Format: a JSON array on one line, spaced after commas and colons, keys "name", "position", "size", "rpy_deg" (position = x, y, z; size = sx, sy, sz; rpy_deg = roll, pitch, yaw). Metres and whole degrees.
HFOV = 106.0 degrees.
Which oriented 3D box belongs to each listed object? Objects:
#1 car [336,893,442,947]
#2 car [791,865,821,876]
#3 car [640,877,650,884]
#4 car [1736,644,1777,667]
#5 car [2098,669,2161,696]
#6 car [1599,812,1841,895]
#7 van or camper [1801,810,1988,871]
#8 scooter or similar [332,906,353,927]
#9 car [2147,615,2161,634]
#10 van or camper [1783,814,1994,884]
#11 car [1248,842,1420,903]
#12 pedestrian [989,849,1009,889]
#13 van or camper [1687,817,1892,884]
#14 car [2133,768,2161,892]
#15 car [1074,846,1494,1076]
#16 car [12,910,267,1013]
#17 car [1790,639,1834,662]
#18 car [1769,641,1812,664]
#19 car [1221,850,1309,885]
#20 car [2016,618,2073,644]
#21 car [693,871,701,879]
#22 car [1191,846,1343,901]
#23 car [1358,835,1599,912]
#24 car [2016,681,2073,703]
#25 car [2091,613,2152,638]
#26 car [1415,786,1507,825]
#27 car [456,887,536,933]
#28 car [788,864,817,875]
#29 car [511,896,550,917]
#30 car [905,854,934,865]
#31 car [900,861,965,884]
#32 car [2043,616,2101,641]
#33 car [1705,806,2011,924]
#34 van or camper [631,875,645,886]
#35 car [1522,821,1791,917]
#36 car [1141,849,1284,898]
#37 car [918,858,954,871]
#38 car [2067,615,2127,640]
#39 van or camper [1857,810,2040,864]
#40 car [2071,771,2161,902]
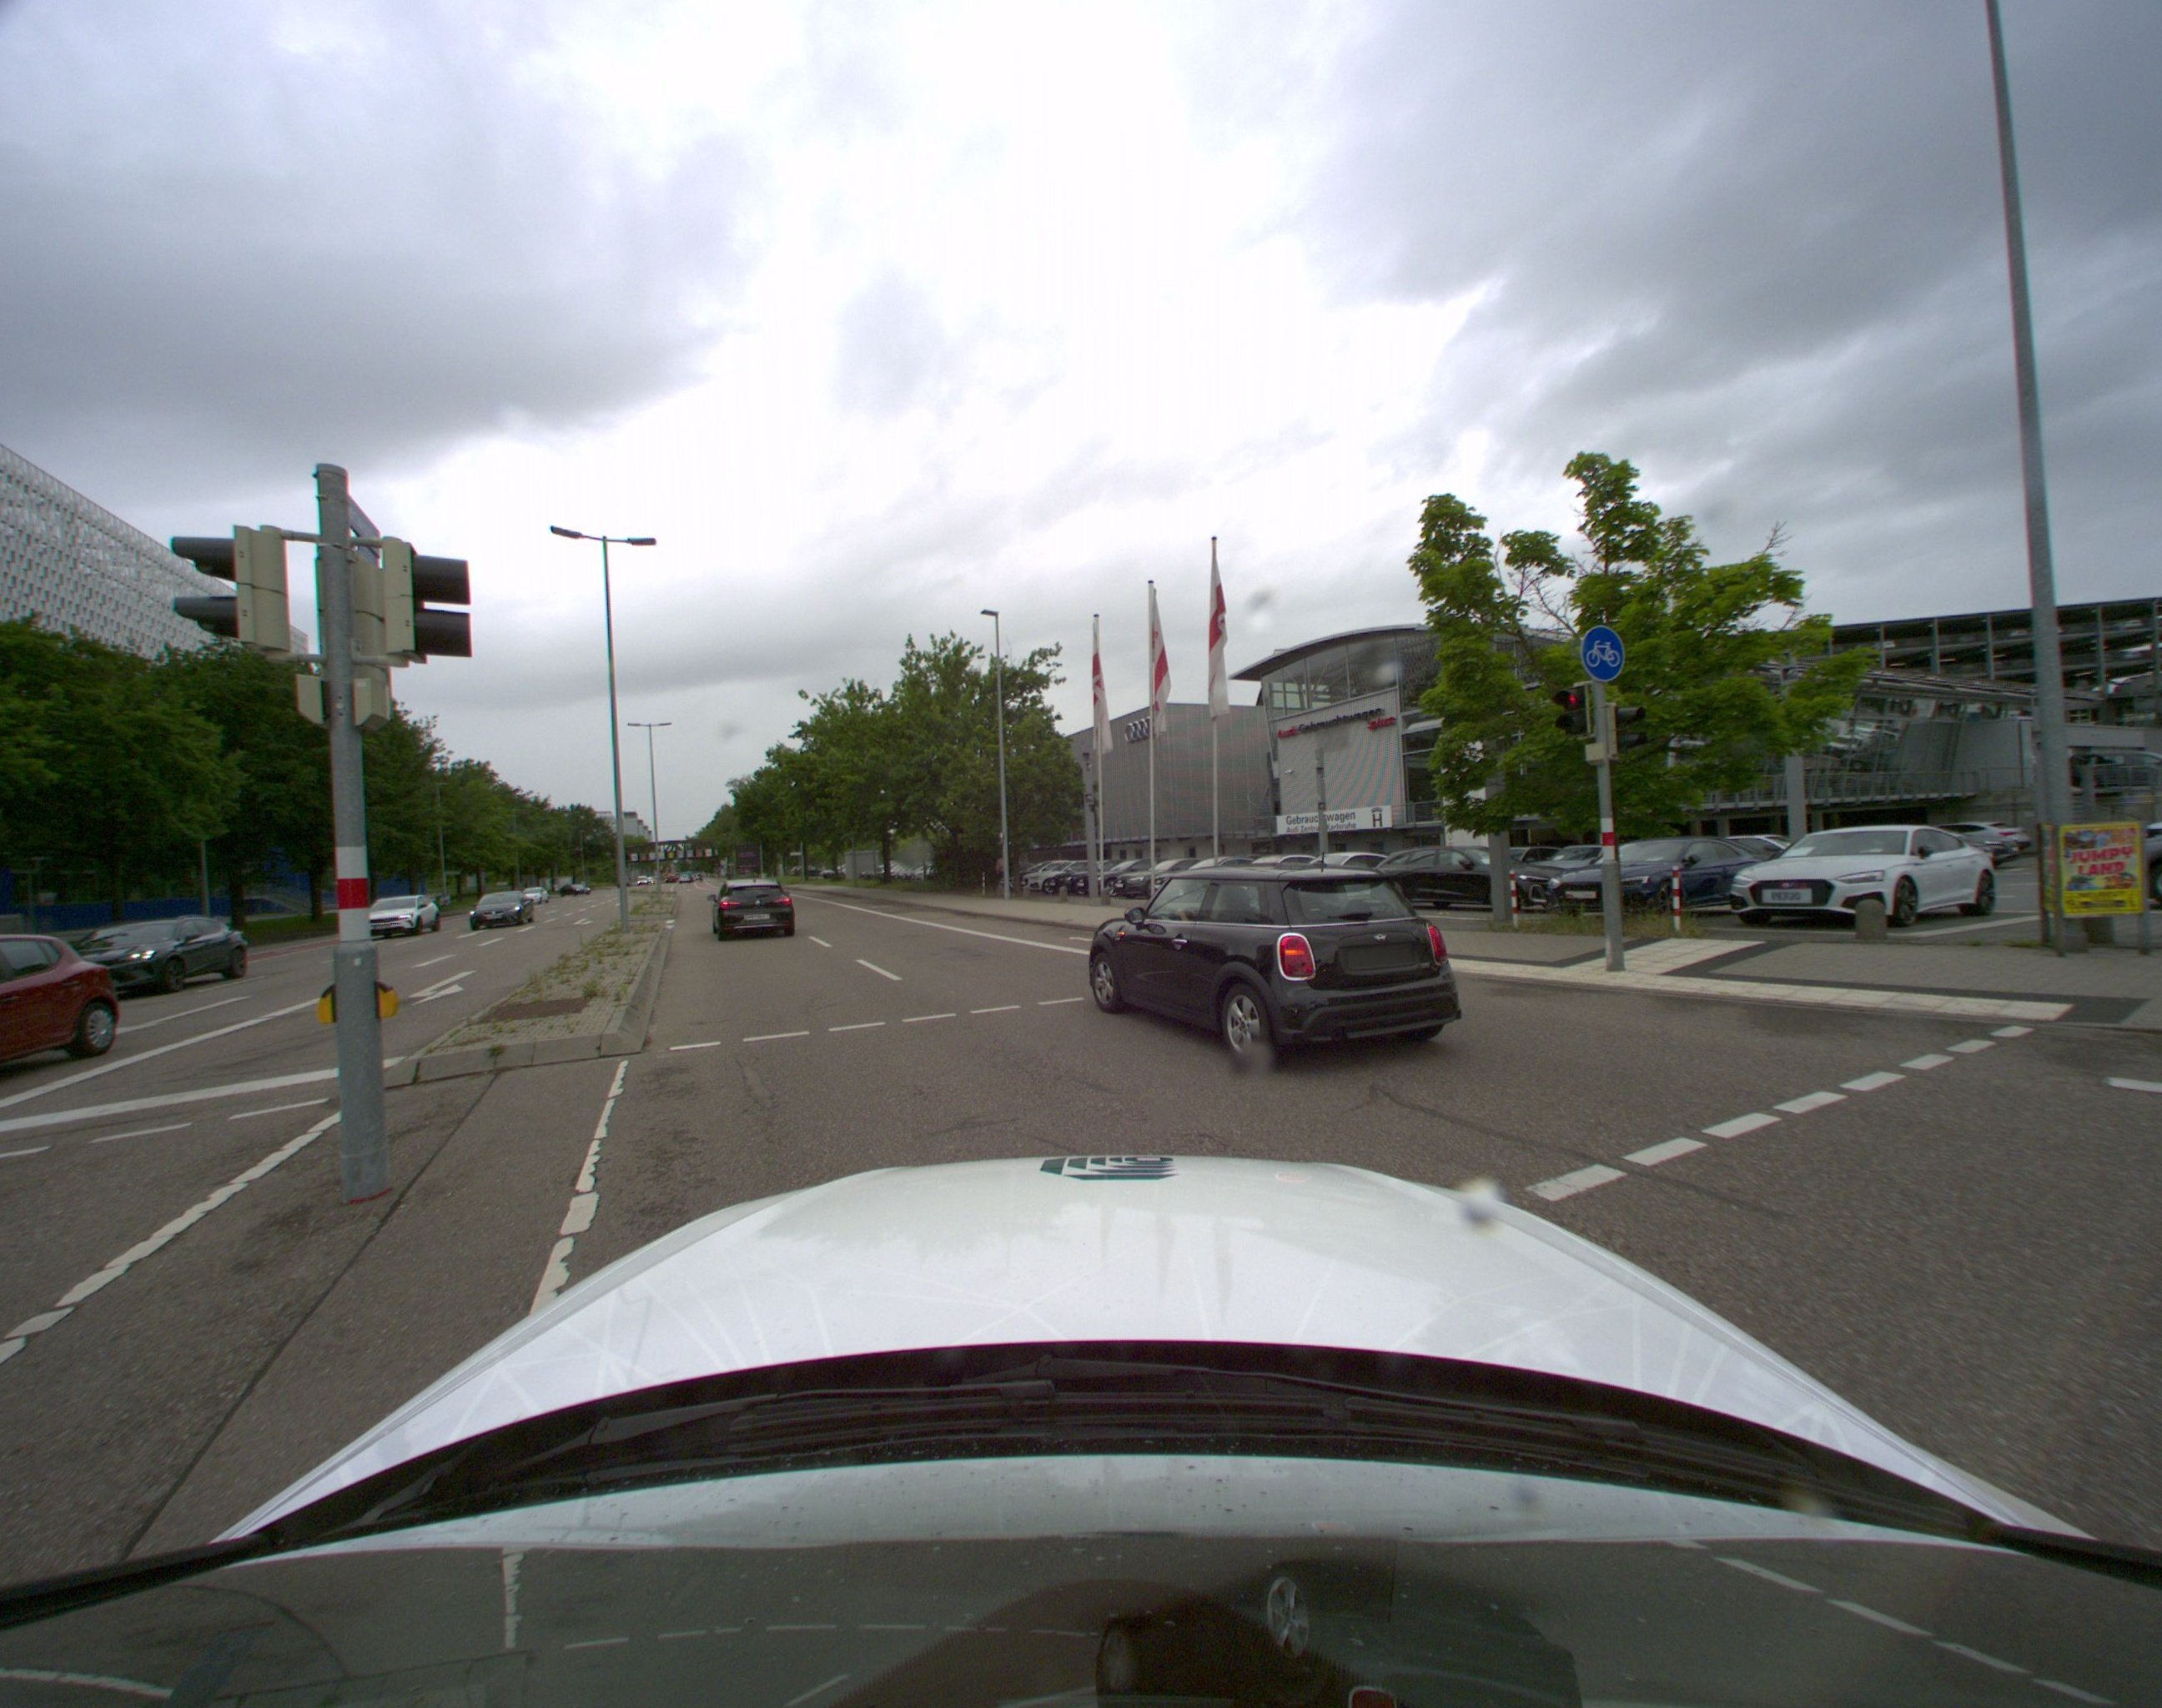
[{"name": "car", "position": [-27.554, 2.576, 32.631], "size": [2.005, 1.594, 4.538], "rpy_deg": [-7, 2, -26]}, {"name": "car", "position": [-39.829, 2.382, 118.081], "size": [4.000, 1.435, 1.719], "rpy_deg": [-2, 1, -20]}, {"name": "car", "position": [-103.441, 6.395, 193.293], "size": [1.762, 1.446, 3.313], "rpy_deg": [-2, 1, -23]}, {"name": "car", "position": [79.313, -23.282, 95.712], "size": [1.981, 1.667, 4.012], "rpy_deg": [-2, 1, 10]}, {"name": "car", "position": [117.891, -19.194, 90.954], "size": [2.192, 1.945, 5.342], "rpy_deg": [-2, 1, 6]}, {"name": "car", "position": [17.244, 0.022, 22.300], "size": [2.003, 1.939, 4.778], "rpy_deg": [-3, 0, -25]}, {"name": "van or camper", "position": [26.566, -0.447, 26.750], "size": [1.851, 1.815, 3.966], "rpy_deg": [-2, 1, -26]}, {"name": "scooter or similar", "position": [-47.464, 4.011, 52.338], "size": [0.659, 1.196, 1.365], "rpy_deg": [-2, 0, -28]}, {"name": "car", "position": [120.121, -25.523, 89.122], "size": [1.981, 1.667, 4.012], "rpy_deg": [-2, 1, 10]}, {"name": "van or camper", "position": [23.181, -0.164, 23.549], "size": [1.851, 1.815, 3.966], "rpy_deg": [-2, 1, -26]}, {"name": "car", "position": [6.689, 0.468, 21.525], "size": [4.205, 1.486, 1.837], "rpy_deg": [0, -1, -25]}, {"name": "pedestrian", "position": [-3.917, 0.727, 38.906], "size": [0.711, 1.871, 0.677], "rpy_deg": [-2, -1, 20]}, {"name": "van or camper", "position": [20.041, -0.131, 23.218], "size": [2.004, 1.677, 3.966], "rpy_deg": [-2, 1, -26]}, {"name": "car", "position": [19.312, -0.526, 11.747], "size": [2.004, 2.014, 4.675], "rpy_deg": [-2, -2, -26]}, {"name": "car", "position": [1.441, 0.708, 7.171], "size": [1.793, 1.416, 3.616], "rpy_deg": [-1, -1, -22]}, {"name": "car", "position": [-19.551, 2.122, 17.242], "size": [1.891, 1.544, 4.557], "rpy_deg": [-5, 0, -28]}, {"name": "car", "position": [84.796, -23.616, 94.493], "size": [1.981, 1.667, 4.012], "rpy_deg": [-2, 1, 10]}, {"name": "car", "position": [82.409, -23.340, 94.623], "size": [1.981, 1.667, 4.012], "rpy_deg": [-2, 1, 10]}, {"name": "car", "position": [9.264, 0.663, 40.995], "size": [4.124, 1.544, 1.801], "rpy_deg": [-2, 1, -27]}, {"name": "car", "position": [107.395, -24.851, 90.832], "size": [1.981, 1.667, 4.012], "rpy_deg": [-2, 1, 10]}, {"name": "car", "position": [-104.179, 5.672, 220.900], "size": [1.959, 1.815, 3.969], "rpy_deg": [-2, 1, -23]}, {"name": "car", "position": [5.437, 0.543, 23.766], "size": [4.051, 1.486, 1.861], "rpy_deg": [0, -1, -26]}, {"name": "car", "position": [8.659, 0.430, 18.261], "size": [1.896, 1.486, 4.715], "rpy_deg": [0, -1, -25]}, {"name": "car", "position": [107.868, -18.084, 91.257], "size": [1.981, 1.667, 4.012], "rpy_deg": [-2, 1, 10]}, {"name": "car", "position": [115.074, -25.253, 90.167], "size": [1.981, 1.667, 4.012], "rpy_deg": [-2, 1, 10]}, {"name": "car", "position": [17.642, -2.252, 37.833], "size": [4.009, 1.661, 1.809], "rpy_deg": [-2, 1, -27]}, {"name": "car", "position": [-24.018, 2.257, 33.587], "size": [1.867, 1.461, 4.295], "rpy_deg": [-5, 2, -26]}, {"name": "car", "position": [-41.003, 2.328, 120.108], "size": [4.000, 1.435, 1.719], "rpy_deg": [-2, 1, -20]}, {"name": "car", "position": [-48.263, 4.588, 71.454], "size": [1.865, 1.461, 4.300], "rpy_deg": [-5, 2, -22]}, {"name": "car", "position": [-24.930, 0.854, 125.681], "size": [4.108, 1.435, 1.715], "rpy_deg": [-2, 1, -27]}, {"name": "car", "position": [-10.631, 1.337, 58.440], "size": [4.202, 1.486, 1.960], "rpy_deg": [2, -1, -26]}, {"name": "car", "position": [110.014, -24.996, 90.458], "size": [1.981, 1.667, 4.012], "rpy_deg": [-2, 1, 10]}, {"name": "car", "position": [11.508, 0.133, 12.046], "size": [4.237, 1.486, 1.859], "rpy_deg": [-1, -2, -26]}, {"name": "van or camper", "position": [-81.853, 4.852, 150.516], "size": [1.765, 1.746, 4.369], "rpy_deg": [-7, 2, -26]}, {"name": "car", "position": [10.313, 0.280, 14.570], "size": [4.527, 1.486, 2.051], "rpy_deg": [0, -3, -28]}, {"name": "car", "position": [4.241, 0.606, 26.235], "size": [4.239, 1.486, 1.856], "rpy_deg": [0, -1, -25]}, {"name": "car", "position": [-17.807, 1.261, 100.068], "size": [4.108, 1.435, 1.715], "rpy_deg": [-2, 1, -27]}, {"name": "car", "position": [112.829, -25.117, 90.473], "size": [1.981, 1.667, 4.012], "rpy_deg": [-2, 1, 10]}, {"name": "van or camper", "position": [29.778, -0.583, 28.094], "size": [1.851, 1.711, 3.966], "rpy_deg": [-2, 1, -26]}, {"name": "car", "position": [16.989, -0.357, 10.642], "size": [2.004, 1.863, 4.745], "rpy_deg": [-2, -2, -27]}]
